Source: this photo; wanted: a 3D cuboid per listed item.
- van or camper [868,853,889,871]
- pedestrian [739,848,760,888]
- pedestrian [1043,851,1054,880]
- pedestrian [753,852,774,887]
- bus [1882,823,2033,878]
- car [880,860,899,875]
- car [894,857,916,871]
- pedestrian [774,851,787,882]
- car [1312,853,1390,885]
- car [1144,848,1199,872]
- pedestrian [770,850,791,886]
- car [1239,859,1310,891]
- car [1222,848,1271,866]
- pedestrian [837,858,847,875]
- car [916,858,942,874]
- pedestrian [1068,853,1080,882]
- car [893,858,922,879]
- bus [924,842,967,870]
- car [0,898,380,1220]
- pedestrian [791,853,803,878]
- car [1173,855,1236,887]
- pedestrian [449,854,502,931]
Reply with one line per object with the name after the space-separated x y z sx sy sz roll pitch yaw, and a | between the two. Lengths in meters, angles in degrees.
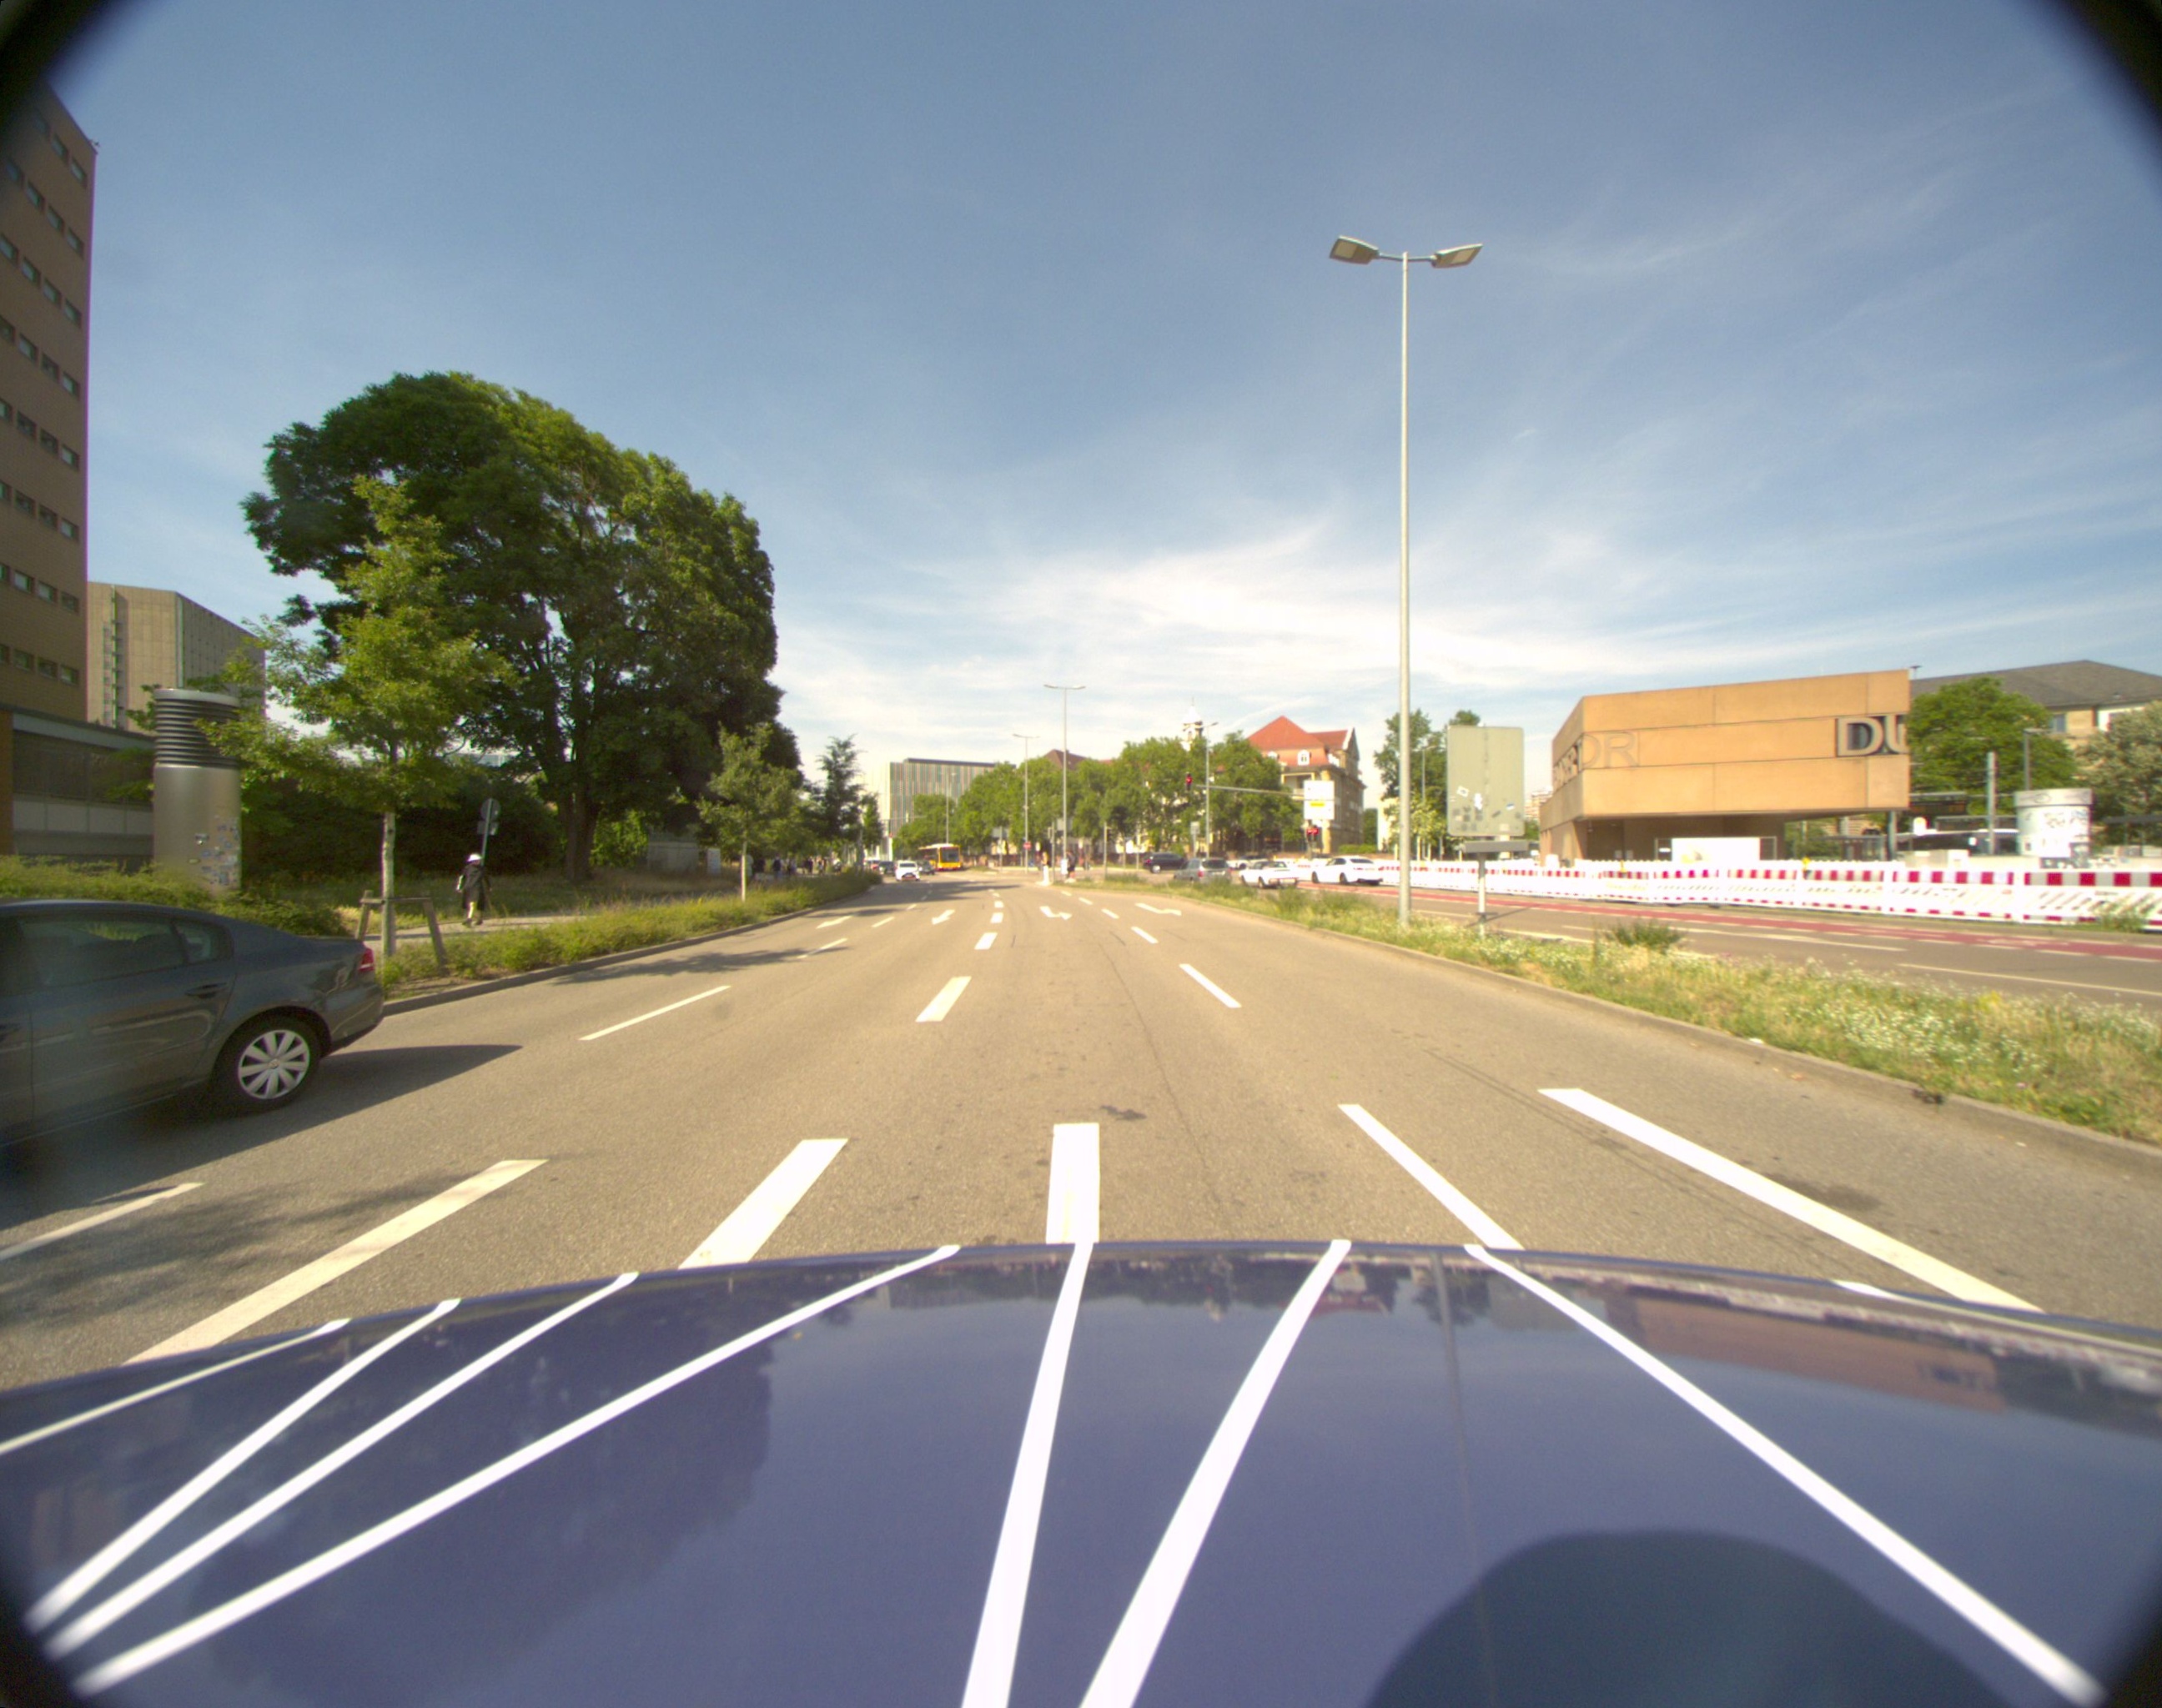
-22.270 0.843 83.260 1.732 1.876 4.913 0 0 -21 | van or camper
-15.458 0.642 35.417 0.643 1.827 0.731 1 1 1 | pedestrian
-1.874 0.655 43.775 0.541 1.664 0.752 0 0 1 | pedestrian
-14.805 0.720 35.389 0.643 1.617 0.731 1 1 1 | pedestrian
59.542 -0.220 52.127 2.751 3.303 11.811 0 0 28 | bus
-17.936 1.221 70.959 1.411 1.287 3.575 0 0 -19 | car
-19.460 1.127 83.839 1.653 1.416 4.112 -3 1 -22 | car
-17.190 0.695 43.464 0.644 1.754 0.474 1 1 -20 | pedestrian
13.109 0.700 37.114 1.804 1.412 3.996 -2 1 -10 | car
7.134 0.451 60.435 4.110 1.719 1.759 -2 1 0 | car
-14.202 0.663 35.897 0.643 1.664 0.752 1 1 1 | pedestrian
8.788 0.899 34.862 1.600 1.279 3.996 -2 1 -10 | car
15.013 0.292 68.920 4.117 1.435 1.756 -3 1 -24 | car
-16.544 0.871 52.567 0.644 1.125 0.751 1 1 -15 | pedestrian
-14.793 1.125 73.878 1.653 1.416 4.112 -3 1 -22 | car
-0.415 0.791 44.345 0.643 1.664 0.752 0 0 0 | pedestrian
-12.938 1.036 56.558 1.684 1.466 3.754 -3 1 -18 | car
-16.039 0.226 89.300 2.800 3.020 12.127 0 0 -20 | bus
-6.071 1.085 3.405 1.635 1.427 4.528 -1 1 -1 | car
-16.381 0.672 43.789 0.644 1.438 0.568 1 1 -20 | pedestrian
5.651 0.751 35.230 1.600 1.279 3.996 -2 1 -10 | car
-13.533 0.843 17.005 0.592 1.654 0.731 1 1 1 | pedestrian
